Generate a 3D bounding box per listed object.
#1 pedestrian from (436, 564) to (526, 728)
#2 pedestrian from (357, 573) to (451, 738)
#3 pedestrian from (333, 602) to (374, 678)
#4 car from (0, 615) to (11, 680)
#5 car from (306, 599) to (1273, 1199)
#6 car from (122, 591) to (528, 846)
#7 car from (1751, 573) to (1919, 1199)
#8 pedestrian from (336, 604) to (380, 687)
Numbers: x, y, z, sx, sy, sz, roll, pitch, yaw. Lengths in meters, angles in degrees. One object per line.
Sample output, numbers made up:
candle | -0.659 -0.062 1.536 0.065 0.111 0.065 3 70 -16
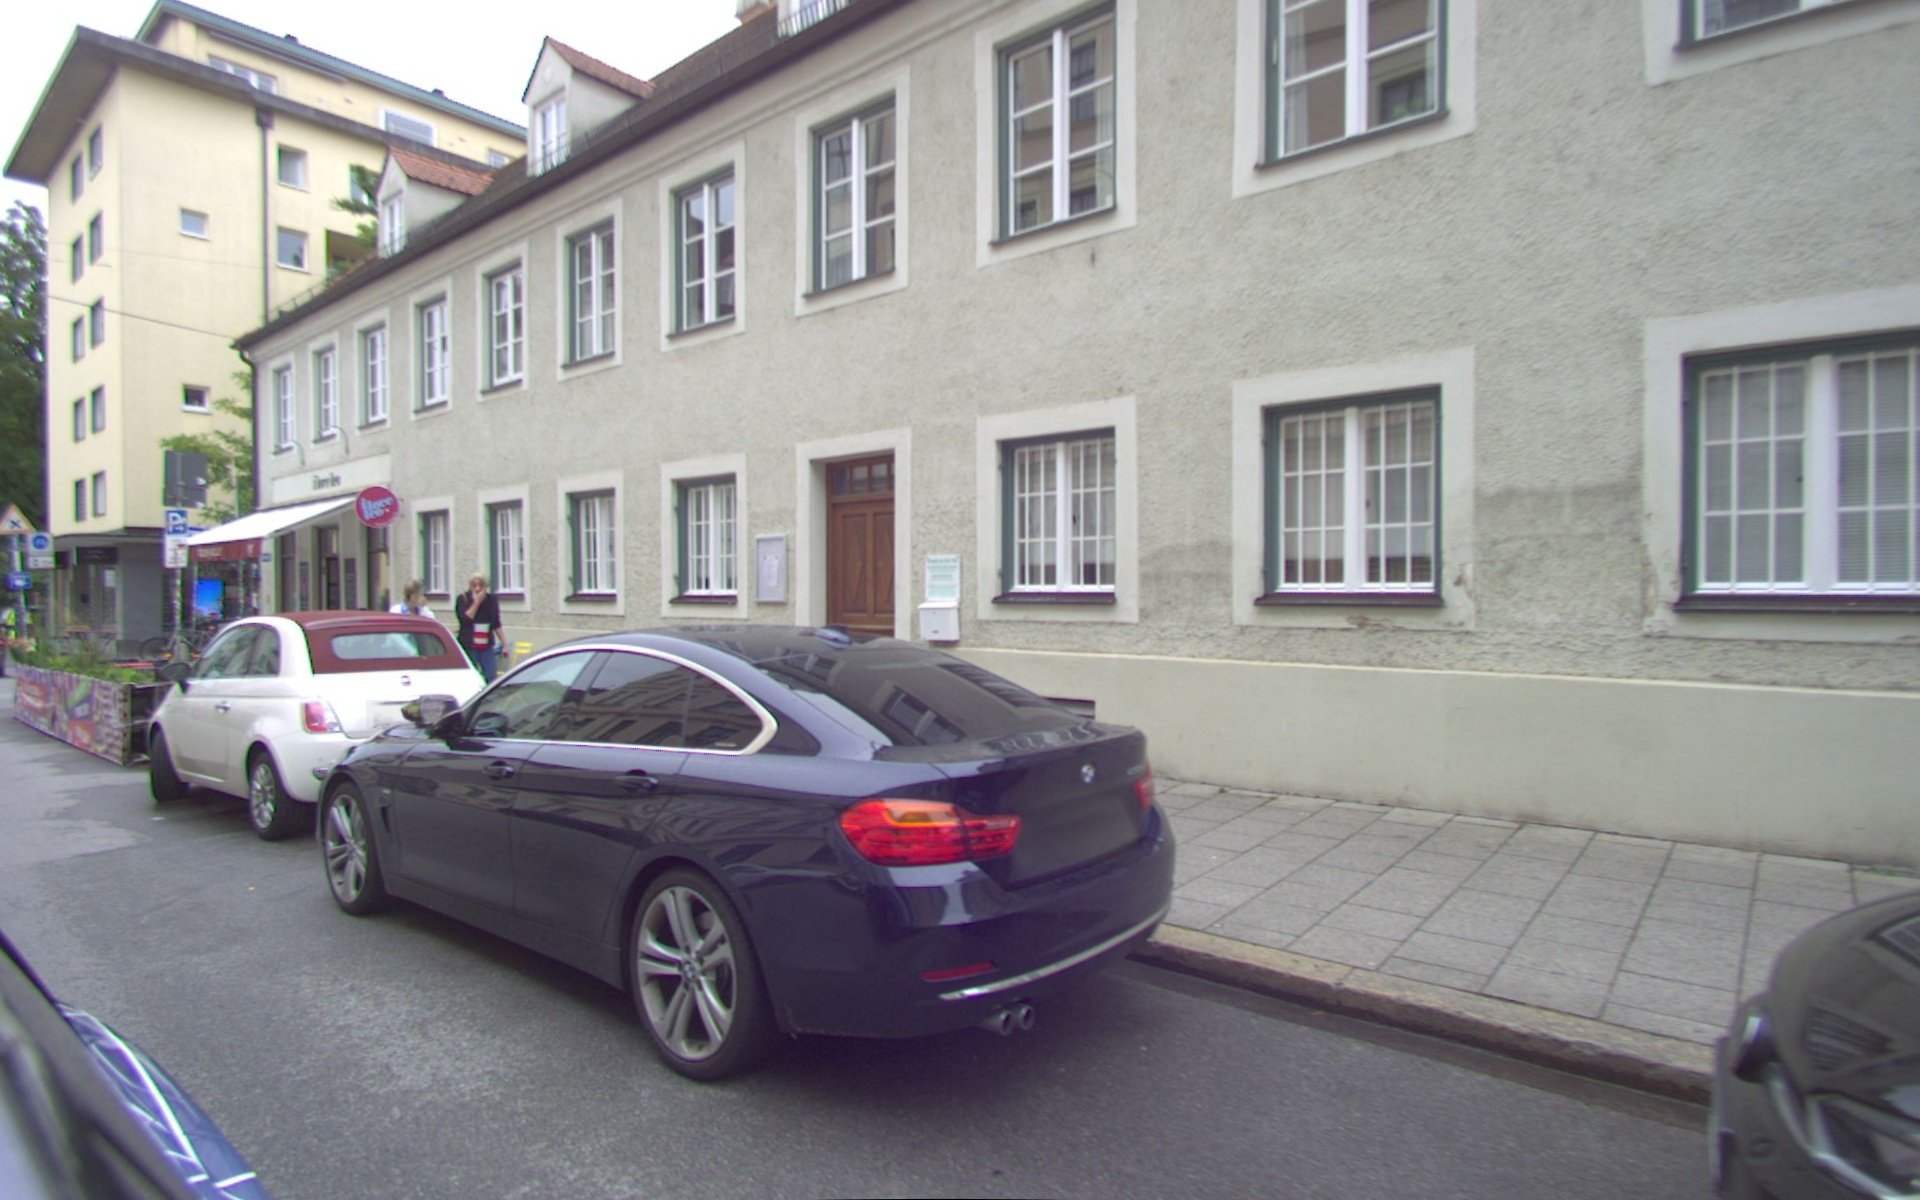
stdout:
pedestrian | -5.230 0.485 11.046 0.805 1.711 0.575 -1 0 37
pedestrian | -5.659 0.544 10.304 0.662 1.610 0.607 -1 0 37
pedestrian | -10.145 0.663 16.933 0.501 1.222 0.596 -3 -1 -35
car | -24.198 1.125 24.236 3.997 1.511 1.689 -1 0 40
car | -1.059 0.746 4.427 4.266 1.412 1.839 -1 1 40
car | -4.992 0.736 7.823 3.418 1.526 1.554 -1 1 38
car | 3.311 0.641 0.711 4.262 1.412 1.840 -1 1 37
pedestrian | -9.712 0.730 16.322 0.515 1.275 0.548 -3 -1 -35
